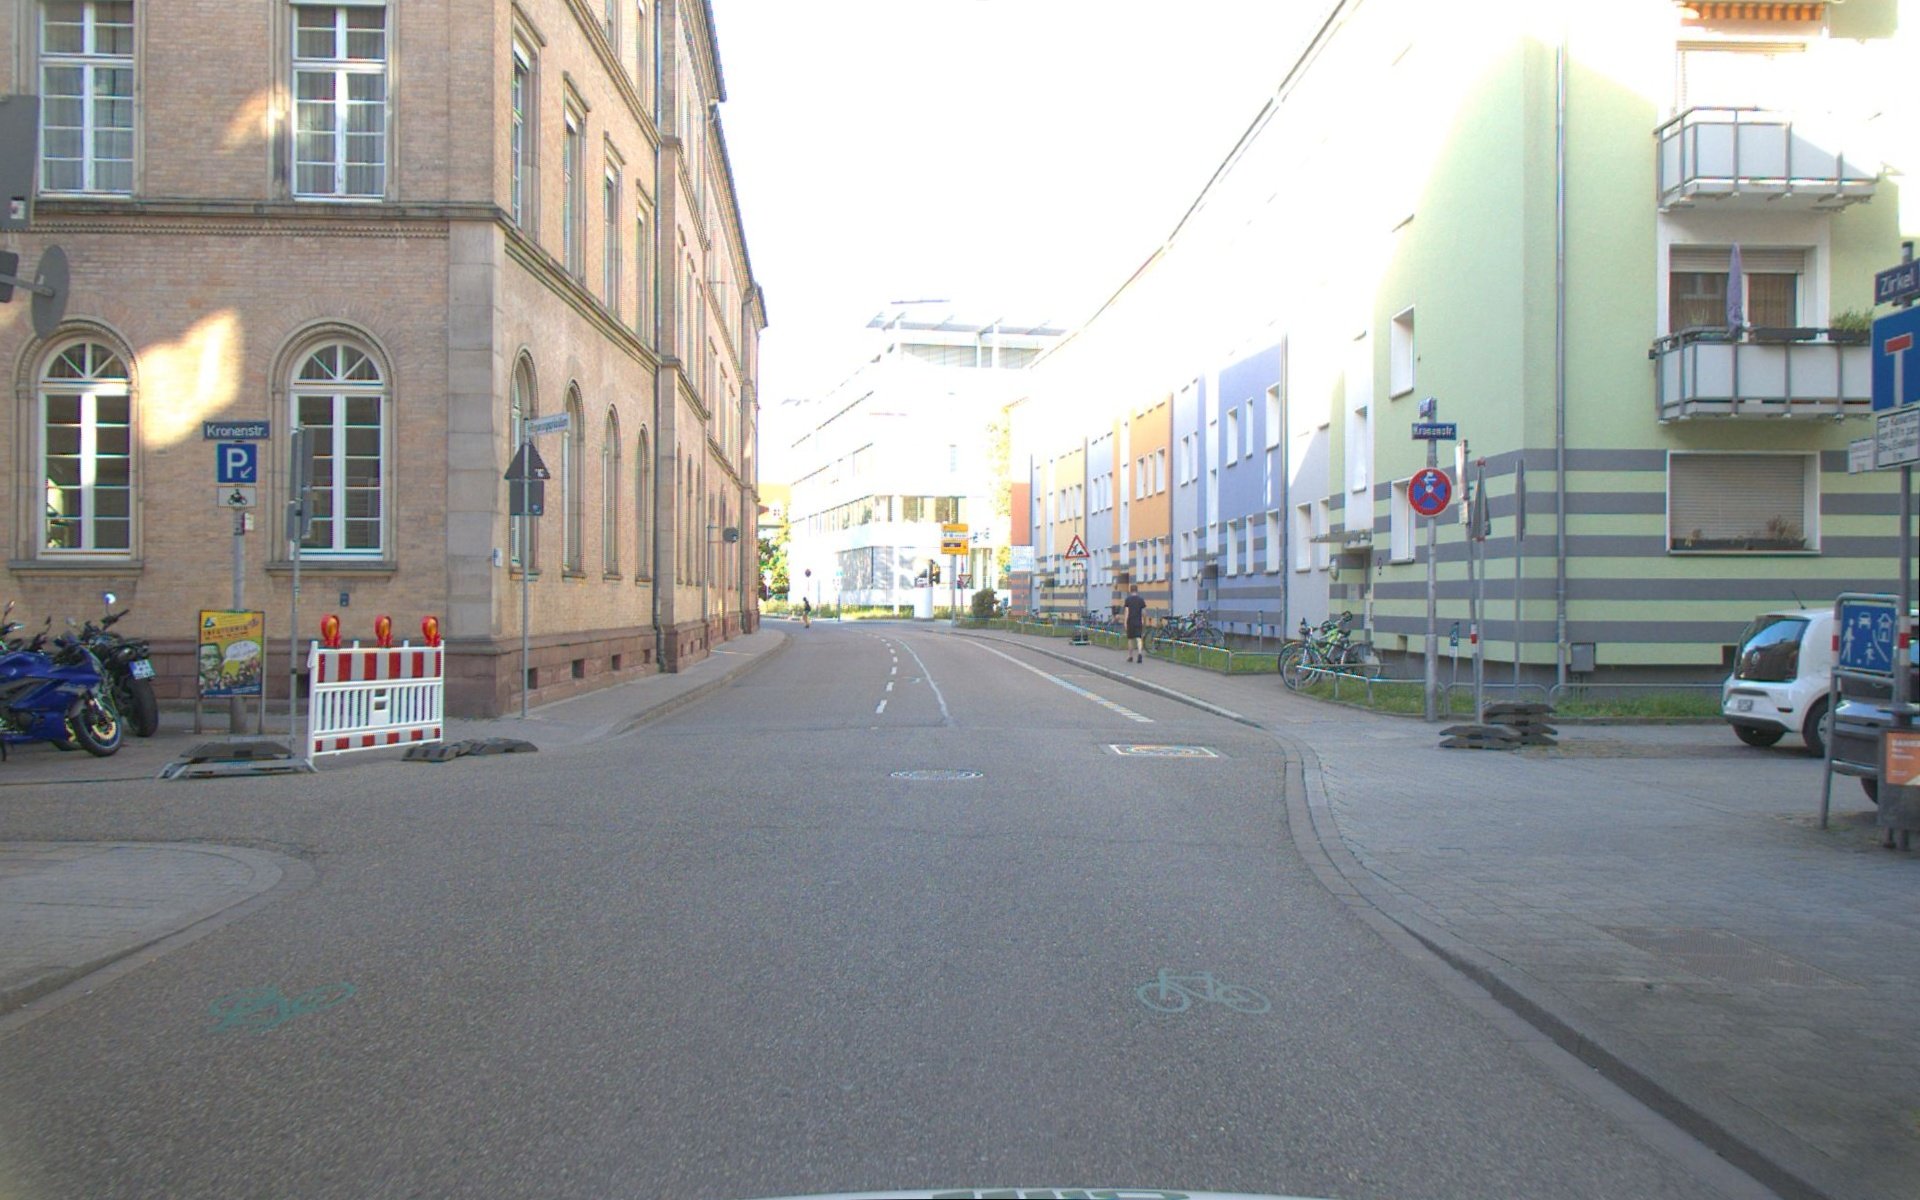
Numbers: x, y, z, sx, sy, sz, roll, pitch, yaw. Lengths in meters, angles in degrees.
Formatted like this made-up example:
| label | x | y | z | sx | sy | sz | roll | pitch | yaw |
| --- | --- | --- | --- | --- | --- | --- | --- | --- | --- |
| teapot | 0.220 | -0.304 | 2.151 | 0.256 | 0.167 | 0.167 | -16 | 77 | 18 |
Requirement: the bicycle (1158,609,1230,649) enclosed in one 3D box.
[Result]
| label | x | y | z | sx | sy | sz | roll | pitch | yaw |
| --- | --- | --- | --- | --- | --- | --- | --- | --- | --- |
| bicycle | 5.907 | 0.729 | 41.725 | 1.713 | 0.963 | 0.551 | -1 | -1 | -3 |

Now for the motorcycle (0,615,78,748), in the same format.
| label | x | y | z | sx | sy | sz | roll | pitch | yaw |
| --- | --- | --- | --- | --- | --- | --- | --- | --- | --- |
| motorcycle | -9.932 | 0.821 | 16.307 | 0.578 | 1.297 | 2.113 | 0 | 1 | 43 |

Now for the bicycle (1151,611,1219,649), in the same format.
| label | x | y | z | sx | sy | sz | roll | pitch | yaw |
| --- | --- | --- | --- | --- | --- | --- | --- | --- | --- |
| bicycle | 5.826 | 0.774 | 42.869 | 1.713 | 0.963 | 0.325 | -1 | -1 | -2 |

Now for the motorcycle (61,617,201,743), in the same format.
| label | x | y | z | sx | sy | sz | roll | pitch | yaw |
| --- | --- | --- | --- | --- | --- | --- | --- | --- | --- |
| motorcycle | -8.608 | 0.788 | 17.130 | 0.655 | 1.194 | 2.164 | -1 | 1 | -45 |

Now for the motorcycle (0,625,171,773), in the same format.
| label | x | y | z | sx | sy | sz | roll | pitch | yaw |
| --- | --- | --- | --- | --- | --- | --- | --- | --- | --- |
| motorcycle | -8.260 | 0.870 | 14.639 | 0.577 | 1.193 | 2.272 | 4 | 3 | 39 |

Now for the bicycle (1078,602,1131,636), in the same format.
| label | x | y | z | sx | sy | sz | roll | pitch | yaw |
| --- | --- | --- | --- | --- | --- | --- | --- | --- | --- |
| bicycle | 5.043 | 0.665 | 57.729 | 1.775 | 1.157 | 0.551 | 0 | -1 | -5 |

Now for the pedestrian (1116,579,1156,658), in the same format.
| label | x | y | z | sx | sy | sz | roll | pitch | yaw |
| --- | --- | --- | --- | --- | --- | --- | --- | --- | --- |
| pedestrian | 4.080 | 0.421 | 38.335 | 0.683 | 1.790 | 1.188 | -2 | 0 | -3 |

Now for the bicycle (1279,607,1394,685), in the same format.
| label | x | y | z | sx | sy | sz | roll | pitch | yaw |
| --- | --- | --- | --- | --- | --- | --- | --- | --- | --- |
| bicycle | 6.166 | 0.746 | 27.133 | 1.714 | 1.161 | 0.551 | -3 | 1 | -3 |

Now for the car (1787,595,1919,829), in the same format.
| label | x | y | z | sx | sy | sz | roll | pitch | yaw |
| --- | --- | --- | --- | --- | --- | --- | --- | --- | --- |
| car | 8.153 | 0.719 | 11.397 | 3.997 | 1.508 | 1.864 | 0 | 0 | -3 |

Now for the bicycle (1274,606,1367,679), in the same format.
| label | x | y | z | sx | sy | sz | roll | pitch | yaw |
| --- | --- | --- | --- | --- | --- | --- | --- | --- | --- |
| bicycle | 6.278 | 0.734 | 28.824 | 1.574 | 1.161 | 0.237 | -3 | 1 | -12 |

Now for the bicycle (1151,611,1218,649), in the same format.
| label | x | y | z | sx | sy | sz | roll | pitch | yaw |
| --- | --- | --- | --- | --- | --- | --- | --- | --- | --- |
| bicycle | 5.876 | 0.788 | 43.331 | 1.713 | 0.963 | 0.335 | -1 | -1 | -3 |

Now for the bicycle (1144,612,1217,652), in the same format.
| label | x | y | z | sx | sy | sz | roll | pitch | yaw |
| --- | --- | --- | --- | --- | --- | --- | --- | --- | --- |
| bicycle | 5.463 | 0.792 | 41.041 | 1.713 | 0.963 | 0.551 | -1 | -1 | -3 |

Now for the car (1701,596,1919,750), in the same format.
| label | x | y | z | sx | sy | sz | roll | pitch | yaw |
| --- | --- | --- | --- | --- | --- | --- | --- | --- | --- |
| car | 9.842 | 0.736 | 17.253 | 3.473 | 1.508 | 1.708 | 1 | 0 | -2 |

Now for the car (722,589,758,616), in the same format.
| label | x | y | z | sx | sy | sz | roll | pitch | yaw |
| --- | --- | --- | --- | --- | --- | --- | --- | --- | --- |
| car | -18.558 | 0.248 | 139.302 | 2.384 | 2.149 | 5.210 | 2 | -1 | -15 |

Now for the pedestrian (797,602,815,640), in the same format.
| label | x | y | z | sx | sy | sz | roll | pitch | yaw |
| --- | --- | --- | --- | --- | --- | --- | --- | --- | --- |
| pedestrian | -8.375 | 1.139 | 90.002 | 0.879 | 2.049 | 0.751 | 0 | -1 | -11 |

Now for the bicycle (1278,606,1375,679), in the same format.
| label | x | y | z | sx | sy | sz | roll | pitch | yaw |
| --- | --- | --- | --- | --- | --- | --- | --- | --- | --- |
| bicycle | 6.335 | 0.732 | 28.555 | 1.612 | 1.161 | 0.282 | -3 | 1 | -12 |

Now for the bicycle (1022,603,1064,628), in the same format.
| label | x | y | z | sx | sy | sz | roll | pitch | yaw |
| --- | --- | --- | --- | --- | --- | --- | --- | --- | --- |
| bicycle | 3.599 | 0.671 | 71.877 | 1.720 | 1.021 | 0.612 | -1 | -1 | -8 |

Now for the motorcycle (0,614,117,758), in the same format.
| label | x | y | z | sx | sy | sz | roll | pitch | yaw |
| --- | --- | --- | --- | --- | --- | --- | --- | --- | --- |
| motorcycle | -9.181 | 0.813 | 15.542 | 0.578 | 1.316 | 2.186 | 0 | 1 | 44 |

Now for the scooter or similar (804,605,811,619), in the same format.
| label | x | y | z | sx | sy | sz | roll | pitch | yaw |
| --- | --- | --- | --- | --- | --- | --- | --- | --- | --- |
| scooter or similar | -11.156 | 0.875 | 121.038 | 0.319 | 1.078 | 1.138 | 0 | 0 | -14 |
